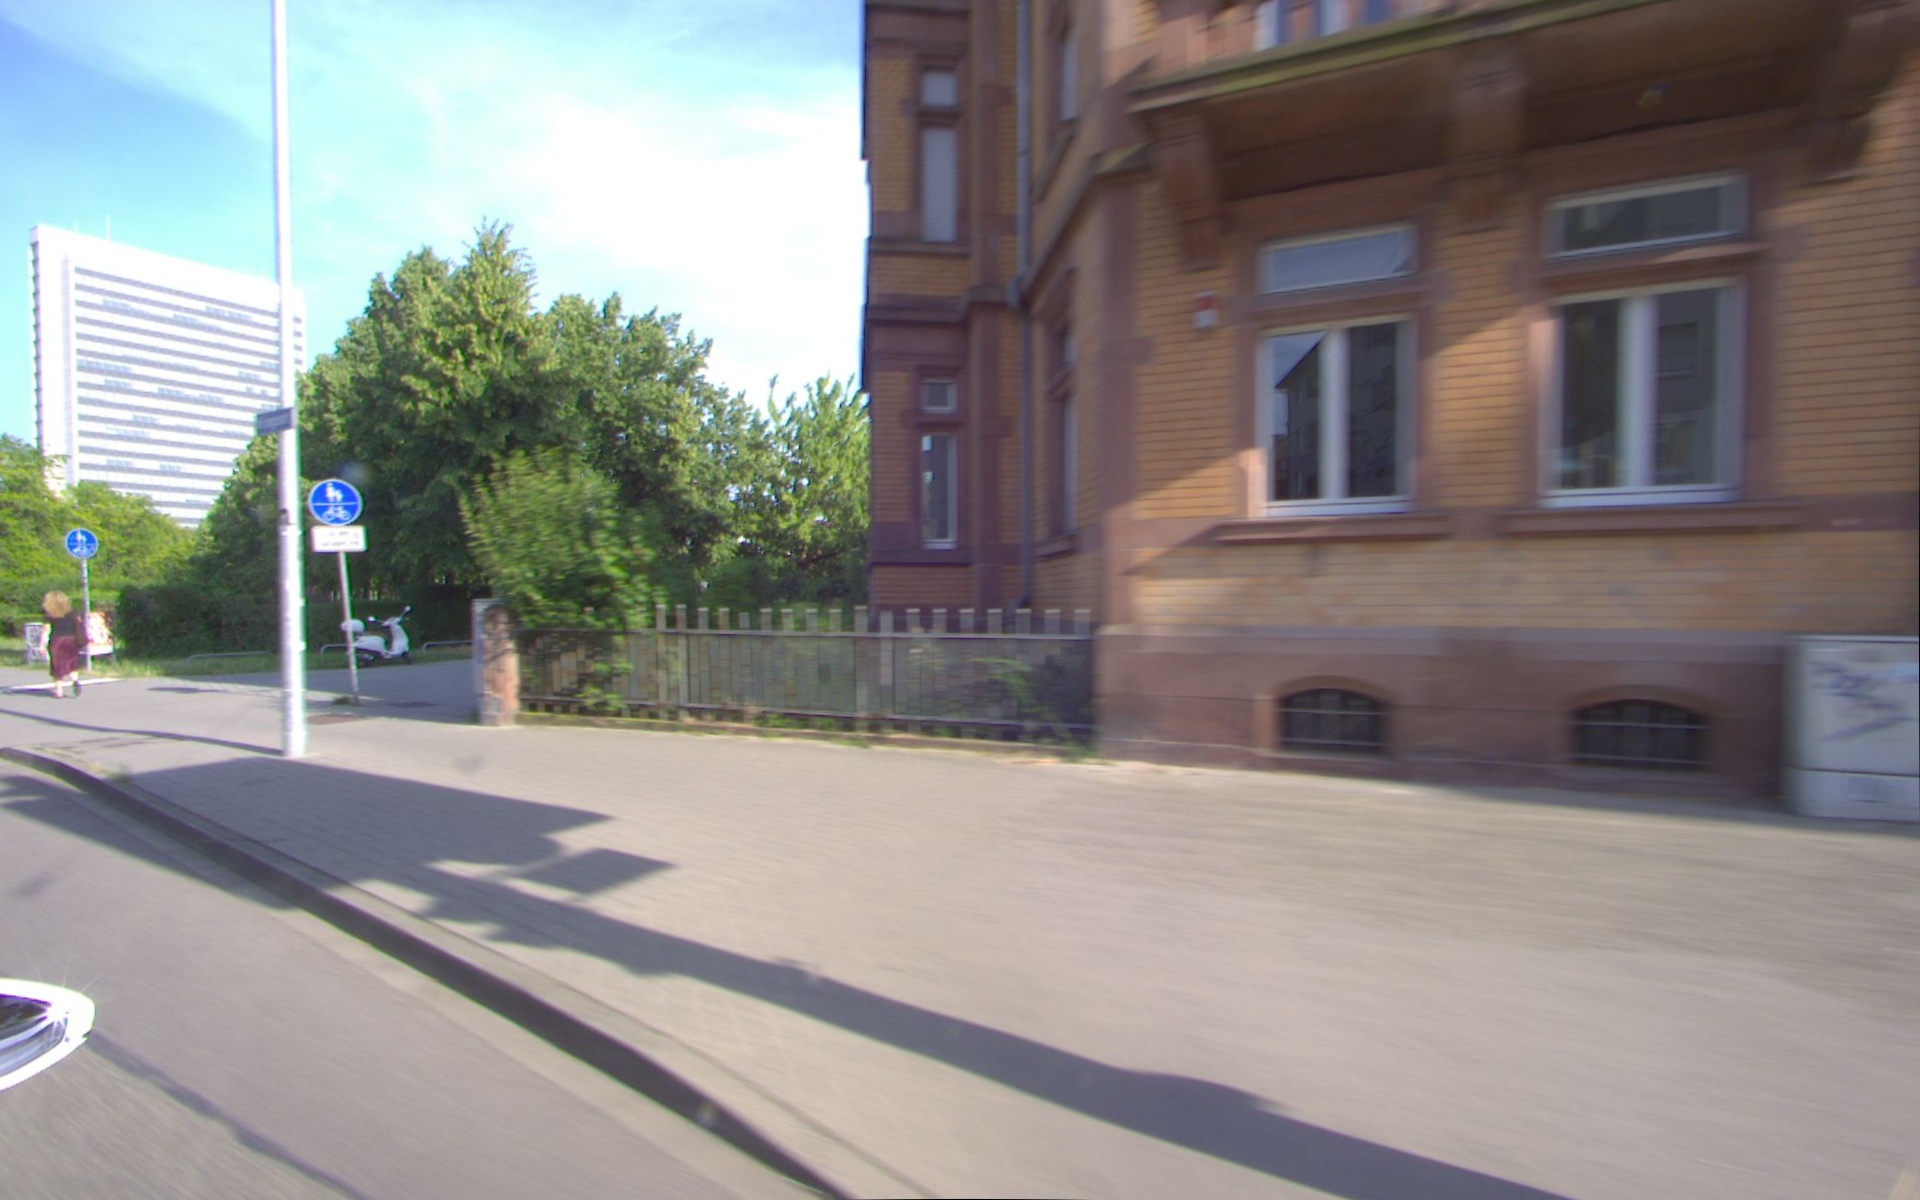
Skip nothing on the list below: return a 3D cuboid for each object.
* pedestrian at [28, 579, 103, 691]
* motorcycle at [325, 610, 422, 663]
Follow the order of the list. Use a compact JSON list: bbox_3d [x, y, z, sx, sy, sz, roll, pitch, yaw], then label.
[{"bbox_3d":[-14.235,0.541,15.939,0.540,1.716,0.614,1,6,28],"label":"pedestrian"},{"bbox_3d":[-13.806,0.845,23.645,0.695,1.175,1.999,1,0,19],"label":"motorcycle"}]
